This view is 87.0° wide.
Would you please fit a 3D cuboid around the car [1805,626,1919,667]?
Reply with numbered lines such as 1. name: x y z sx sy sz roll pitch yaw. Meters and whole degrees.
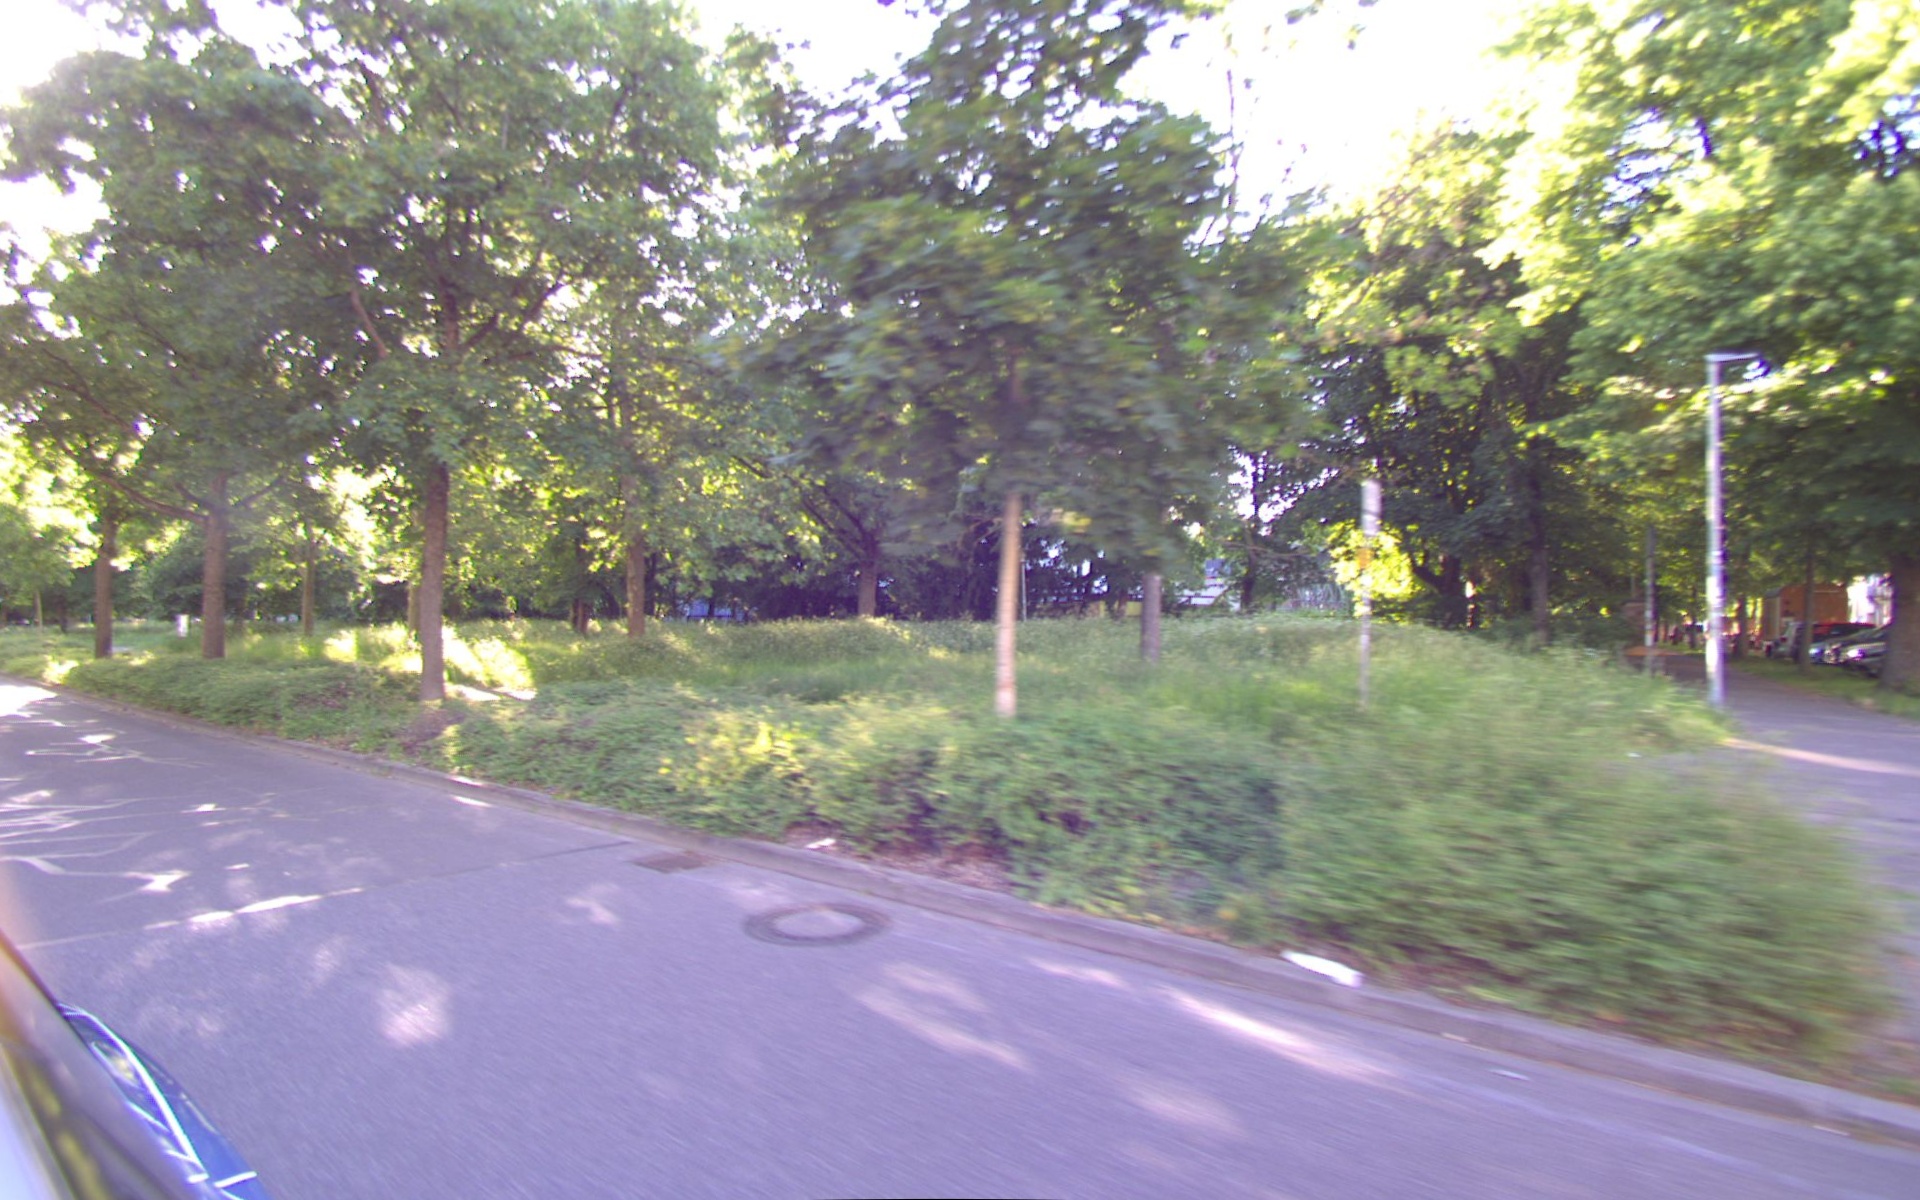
1. car: 30.089 1.481 32.826 3.868 1.266 1.766 -1 -1 32

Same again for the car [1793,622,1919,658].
1. car: 31.563 1.369 35.104 3.868 1.164 1.766 -1 -1 32

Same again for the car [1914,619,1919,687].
1. car: 20.773 1.051 18.960 3.868 1.388 1.957 -1 -1 32

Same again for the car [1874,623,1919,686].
1. car: 23.129 1.214 22.477 3.868 1.388 1.957 -1 -1 32

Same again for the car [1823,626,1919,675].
1. car: 26.032 1.367 27.330 3.868 1.266 1.766 -1 -1 32

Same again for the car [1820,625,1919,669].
1. car: 28.506 1.395 30.373 3.868 1.266 1.766 -1 -1 32

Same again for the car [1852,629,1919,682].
1. car: 24.766 1.368 24.957 3.868 1.266 1.766 -1 -1 32
